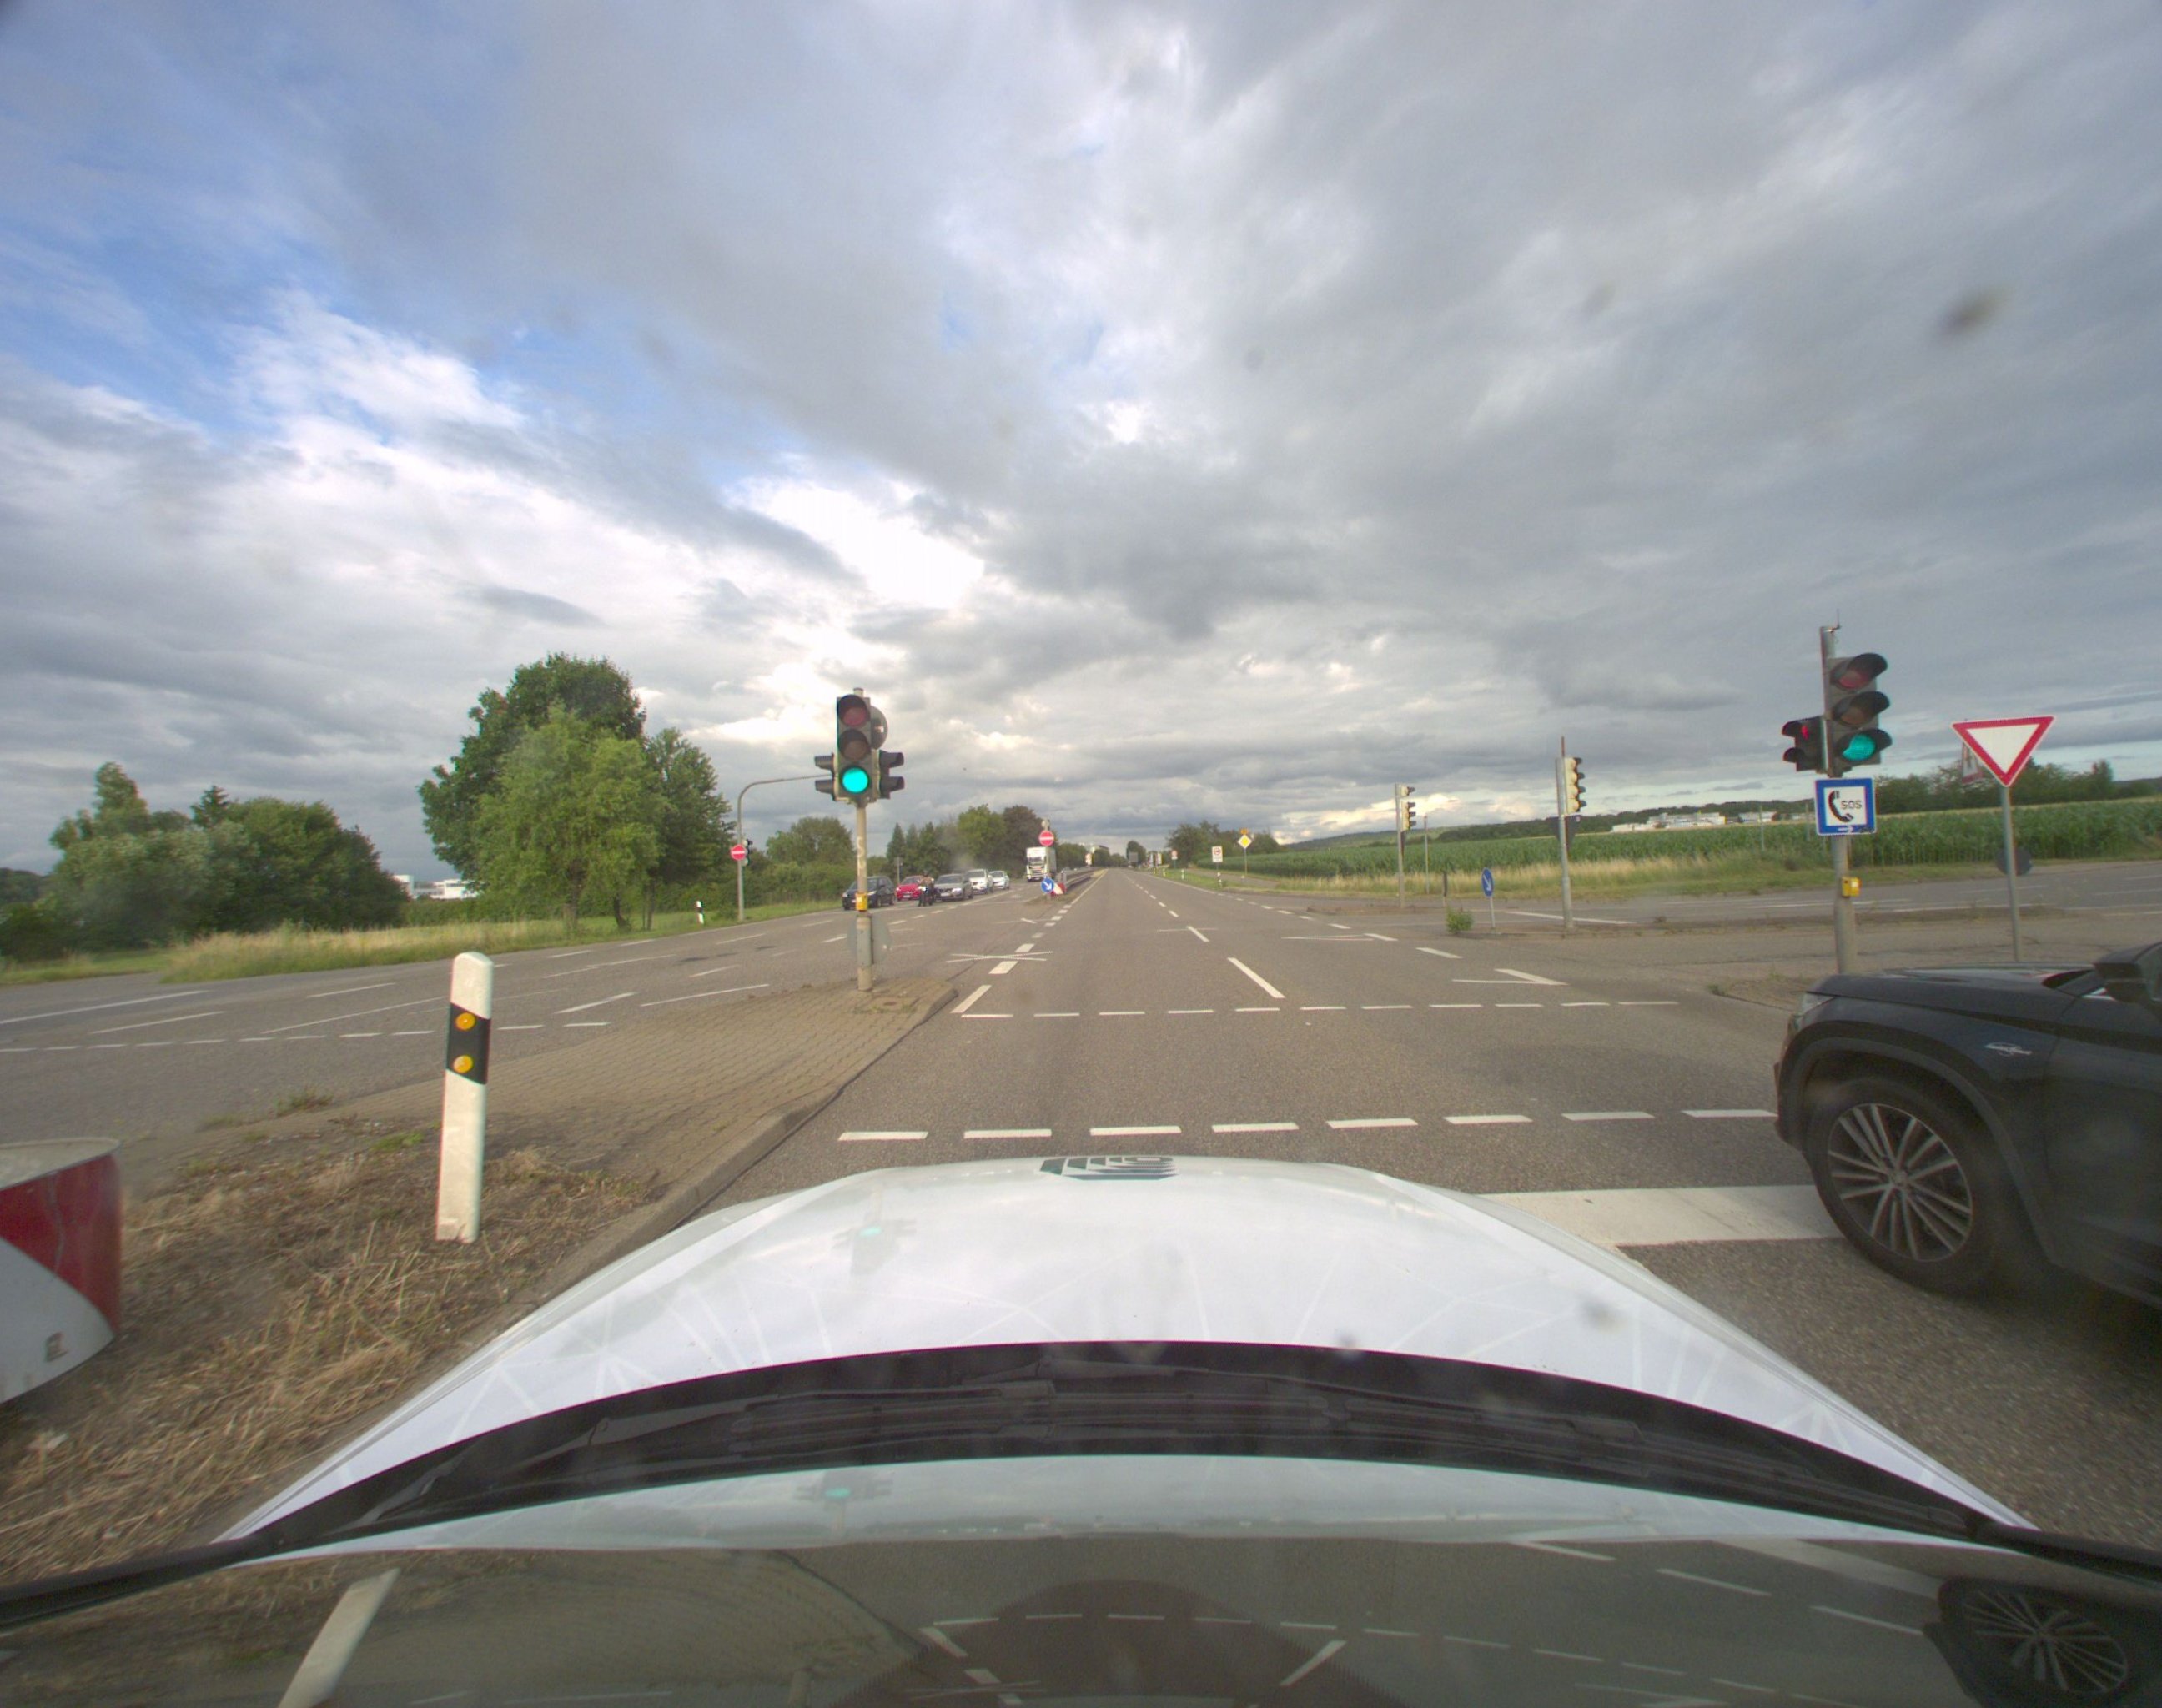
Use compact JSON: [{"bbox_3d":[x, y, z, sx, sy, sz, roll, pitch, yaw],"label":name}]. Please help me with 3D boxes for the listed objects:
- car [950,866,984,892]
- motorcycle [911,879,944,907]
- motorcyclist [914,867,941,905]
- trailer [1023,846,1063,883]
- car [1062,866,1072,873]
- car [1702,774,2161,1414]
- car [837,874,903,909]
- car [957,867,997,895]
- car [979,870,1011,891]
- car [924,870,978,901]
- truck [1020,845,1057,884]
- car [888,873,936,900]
[{"bbox_3d":[-9.860,2.162,70.890,1.985,2.014,4.950,-4,-1,3],"label":"car"},{"bbox_3d":[-7.279,1.816,38.712,0.913,1.203,2.480,-3,-1,2],"label":"motorcycle"},{"bbox_3d":[-7.285,1.521,38.717,0.913,1.709,1.276,-3,-1,2],"label":"motorcyclist"},{"bbox_3d":[-4.567,1.332,101.507,3.452,4.150,13.922,-4,-1,2],"label":"trailer"},{"bbox_3d":[-2.766,3.126,164.893,1.782,1.386,4.162,-3,-1,2],"label":"car"},{"bbox_3d":[3.688,0.607,1.439,1.838,1.650,4.482,0,-1,1],"label":"car"},{"bbox_3d":[-10.733,1.887,41.792,1.900,1.535,4.940,-3,-1,2],"label":"car"},{"bbox_3d":[-6.778,1.747,53.529,1.900,1.610,4.406,-3,-1,2],"label":"car"},{"bbox_3d":[-6.454,1.953,61.568,1.782,1.444,4.162,-3,-1,2],"label":"car"},{"bbox_3d":[-6.991,1.678,44.265,1.900,1.428,5.154,-3,-1,2],"label":"car"},{"bbox_3d":[-4.841,1.221,94.843,3.461,4.150,6.052,-4,-1,2],"label":"truck"},{"bbox_3d":[-10.516,1.991,50.964,1.900,1.465,4.186,-3,-1,2],"label":"car"}]
